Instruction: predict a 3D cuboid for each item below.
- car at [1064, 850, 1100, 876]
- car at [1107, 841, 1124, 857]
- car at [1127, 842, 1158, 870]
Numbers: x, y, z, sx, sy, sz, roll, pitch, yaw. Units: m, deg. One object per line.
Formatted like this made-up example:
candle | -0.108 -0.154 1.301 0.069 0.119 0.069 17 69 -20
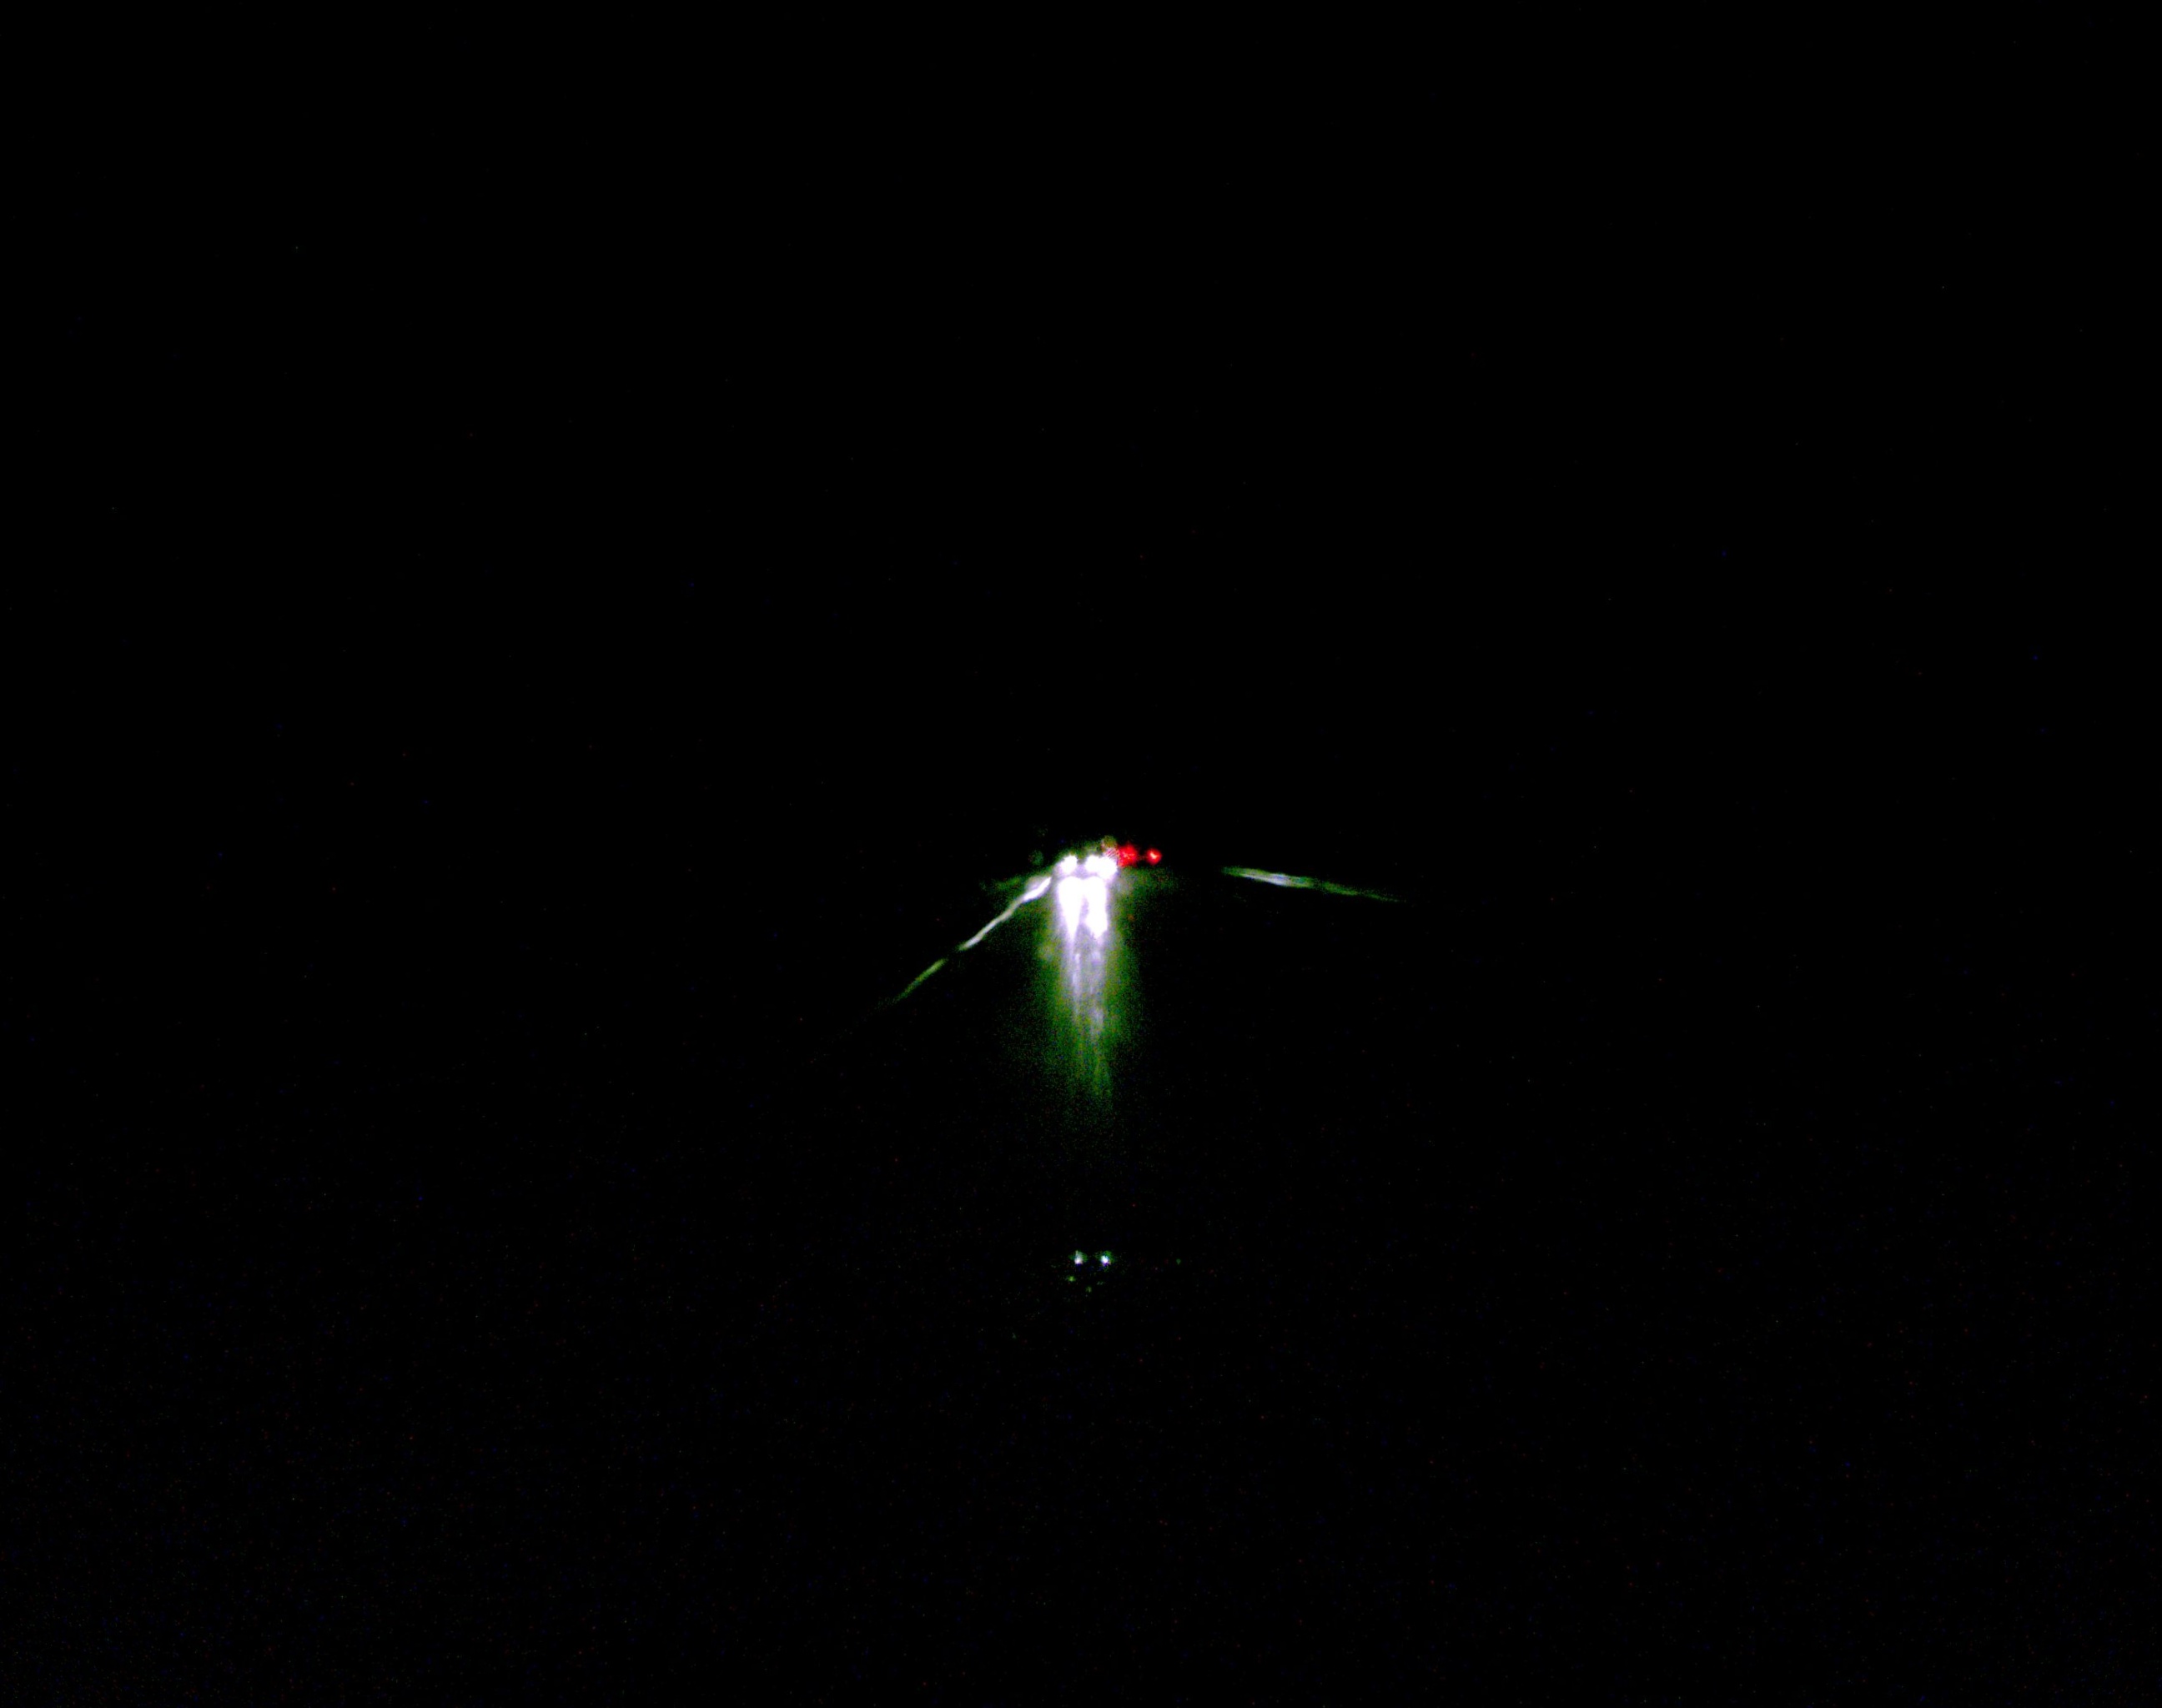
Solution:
car | 0.104 0.555 47.921 1.743 1.502 3.601 -1 2 9
car | 4.357 -0.610 96.773 2.011 2.002 4.327 1 0 1
car | 3.985 0.099 49.593 1.744 1.632 3.599 -1 2 1
